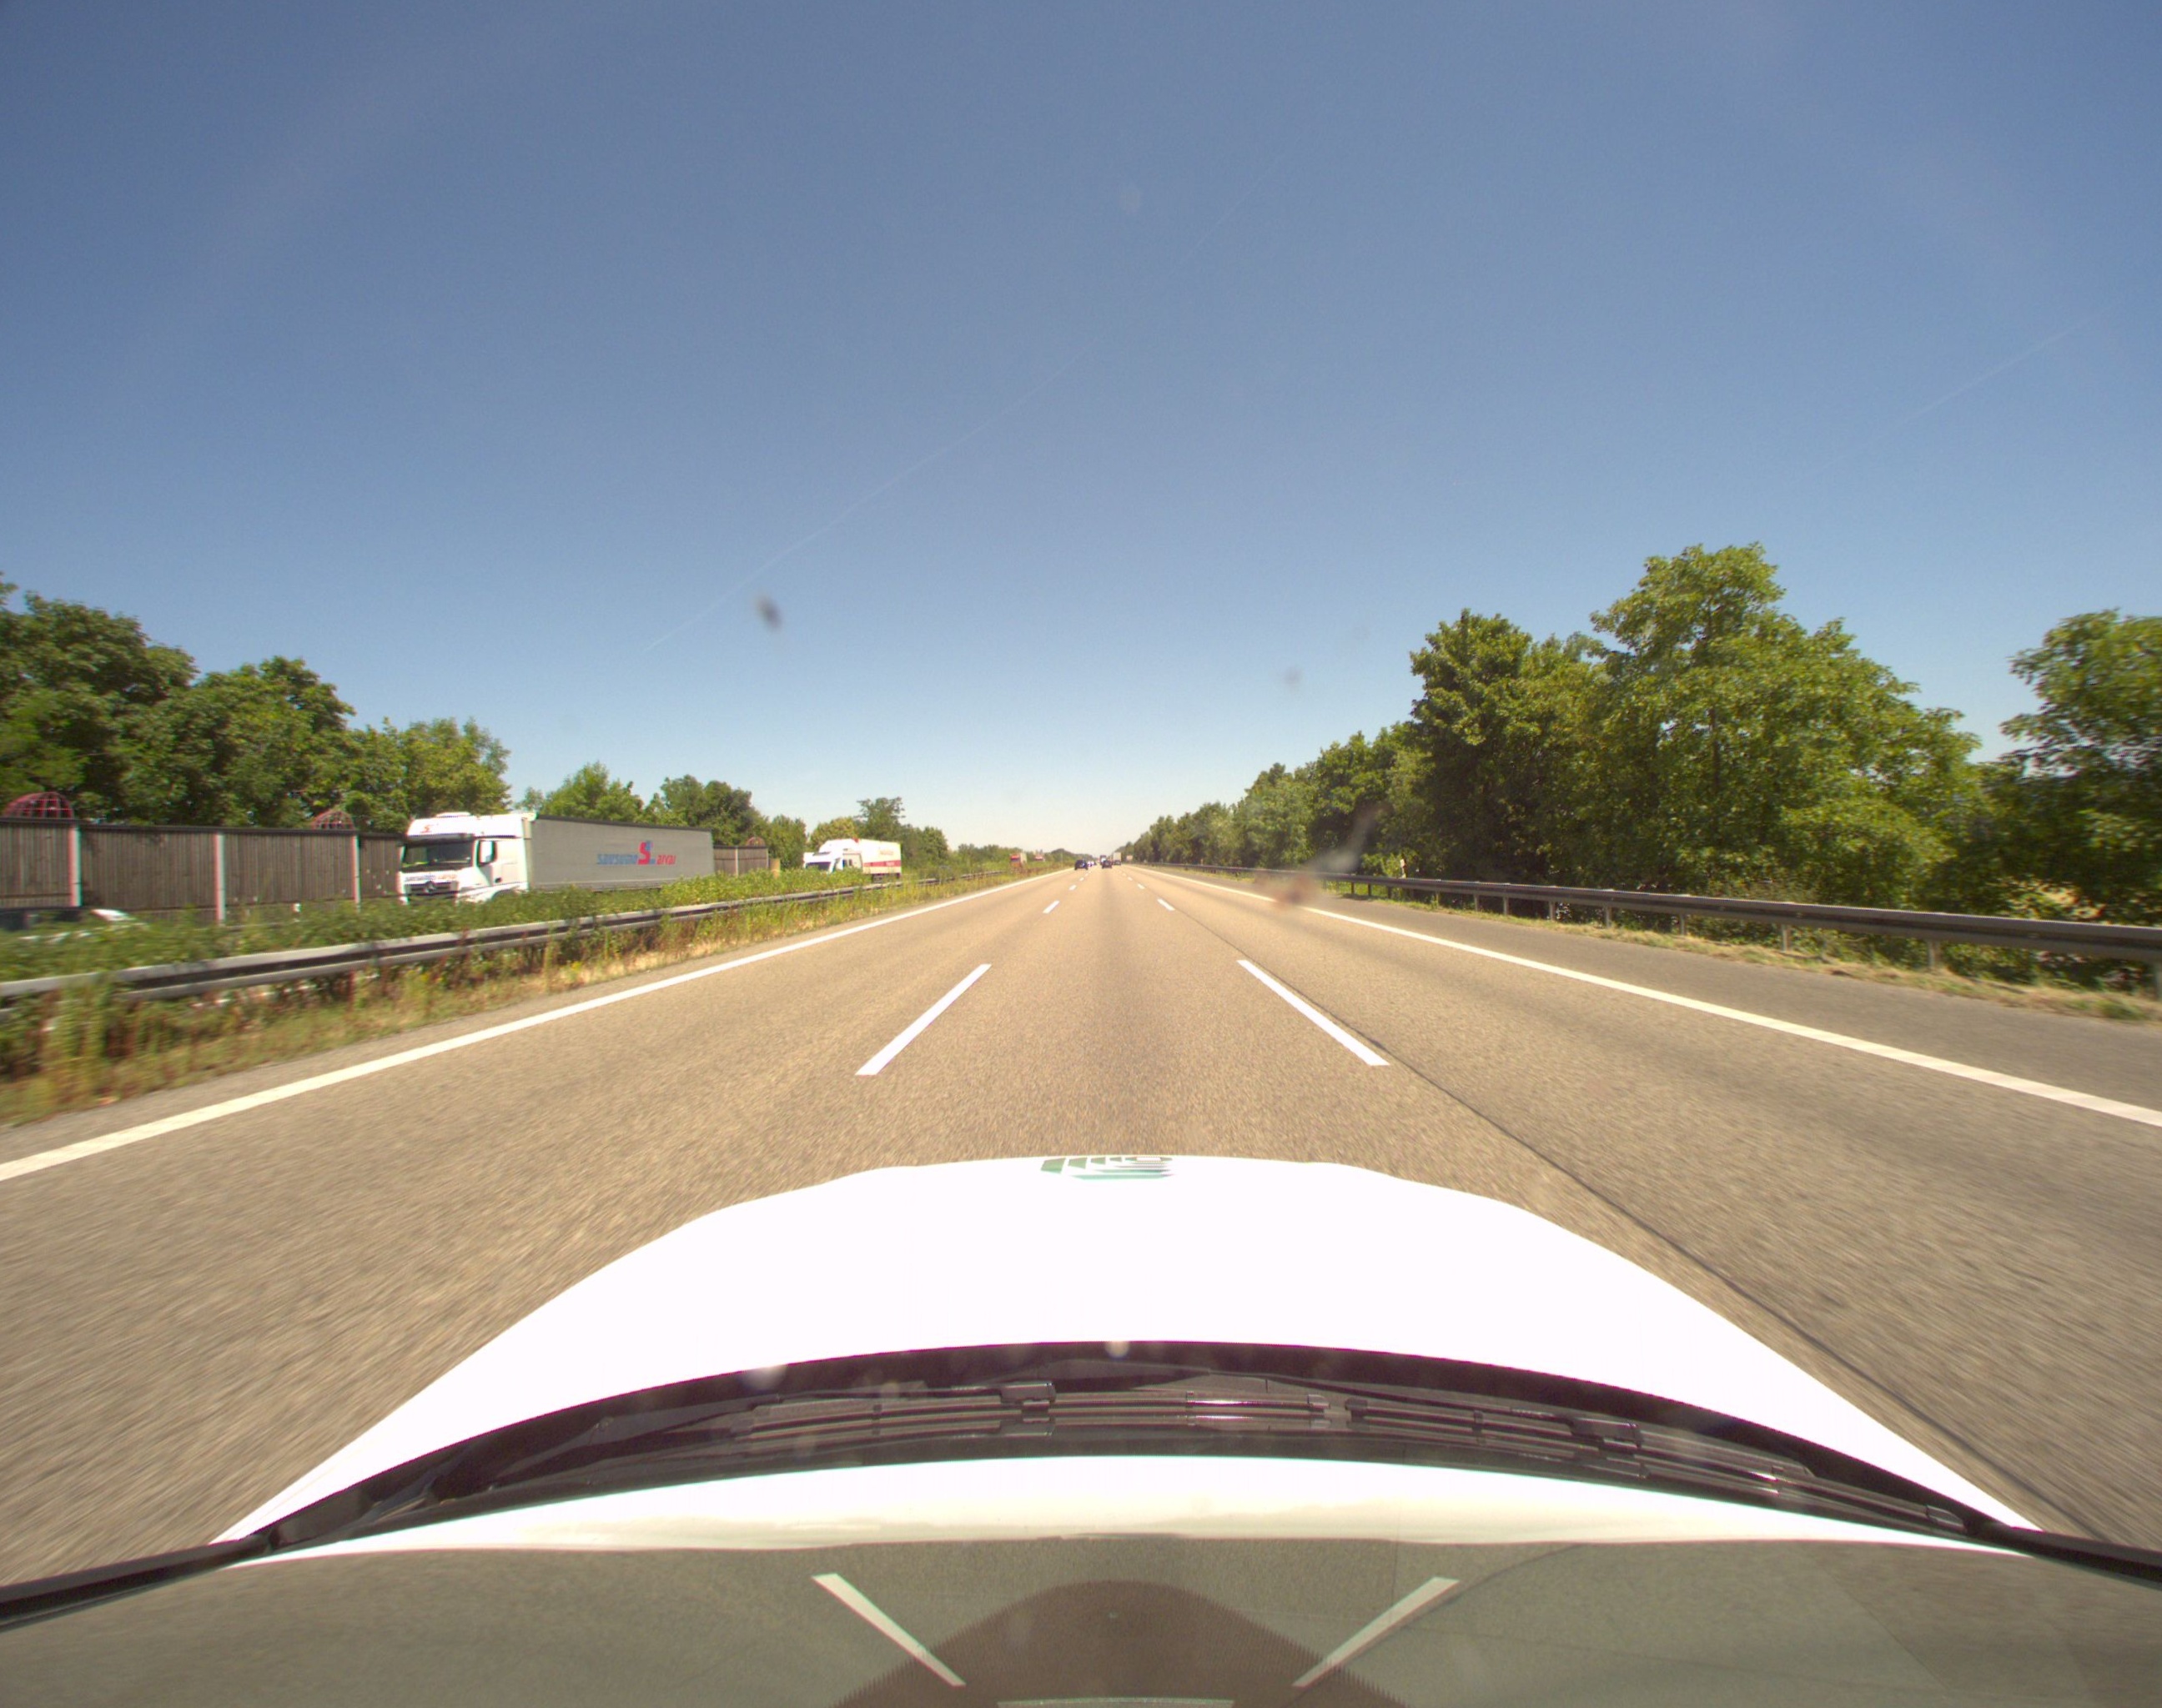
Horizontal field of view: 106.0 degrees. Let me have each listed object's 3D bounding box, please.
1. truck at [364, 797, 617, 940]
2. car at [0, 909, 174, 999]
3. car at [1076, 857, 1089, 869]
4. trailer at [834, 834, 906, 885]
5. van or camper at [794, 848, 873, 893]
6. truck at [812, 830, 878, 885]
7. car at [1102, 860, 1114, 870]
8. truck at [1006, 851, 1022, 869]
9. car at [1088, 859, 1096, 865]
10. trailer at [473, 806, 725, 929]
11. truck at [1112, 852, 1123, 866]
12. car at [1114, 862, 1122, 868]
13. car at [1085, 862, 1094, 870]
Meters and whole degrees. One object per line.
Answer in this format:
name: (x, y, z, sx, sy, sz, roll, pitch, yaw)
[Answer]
truck: (-20.813, 0.498, 29.541, 3.205, 4.440, 7.874, -1, -1, 2)
car: (-16.302, 1.511, 11.814, 1.619, 1.155, 4.081, -1, -1, 2)
car: (0.217, 1.332, 123.067, 1.874, 1.792, 4.000, -1, 0, 0)
trailer: (-18.819, 0.458, 73.659, 2.831, 4.173, 12.227, -1, 0, 2)
van or camper: (-15.514, 0.984, 51.614, 2.456, 2.576, 7.414, -1, -1, 2)
truck: (-19.102, 0.300, 66.555, 2.831, 4.207, 7.718, -1, 0, 2)
car: (4.456, 1.840, 135.075, 1.896, 1.584, 4.306, -2, -1, 2)
truck: (-15.978, 1.447, 195.891, 2.722, 3.935, 7.418, -4, -1, 2)
car: (3.290, 2.499, 246.810, 2.120, 1.645, 4.306, -2, -1, 2)
trailer: (-20.606, 0.538, 36.499, 3.154, 4.478, 12.958, -1, -1, 2)
truck: (11.443, 1.556, 255.498, 3.372, 3.970, 9.541, -2, -1, 2)
car: (10.121, 3.005, 223.502, 2.120, 1.584, 4.306, -2, -1, 2)
car: (2.010, 2.839, 190.085, 2.120, 1.645, 4.306, -2, -1, 2)
